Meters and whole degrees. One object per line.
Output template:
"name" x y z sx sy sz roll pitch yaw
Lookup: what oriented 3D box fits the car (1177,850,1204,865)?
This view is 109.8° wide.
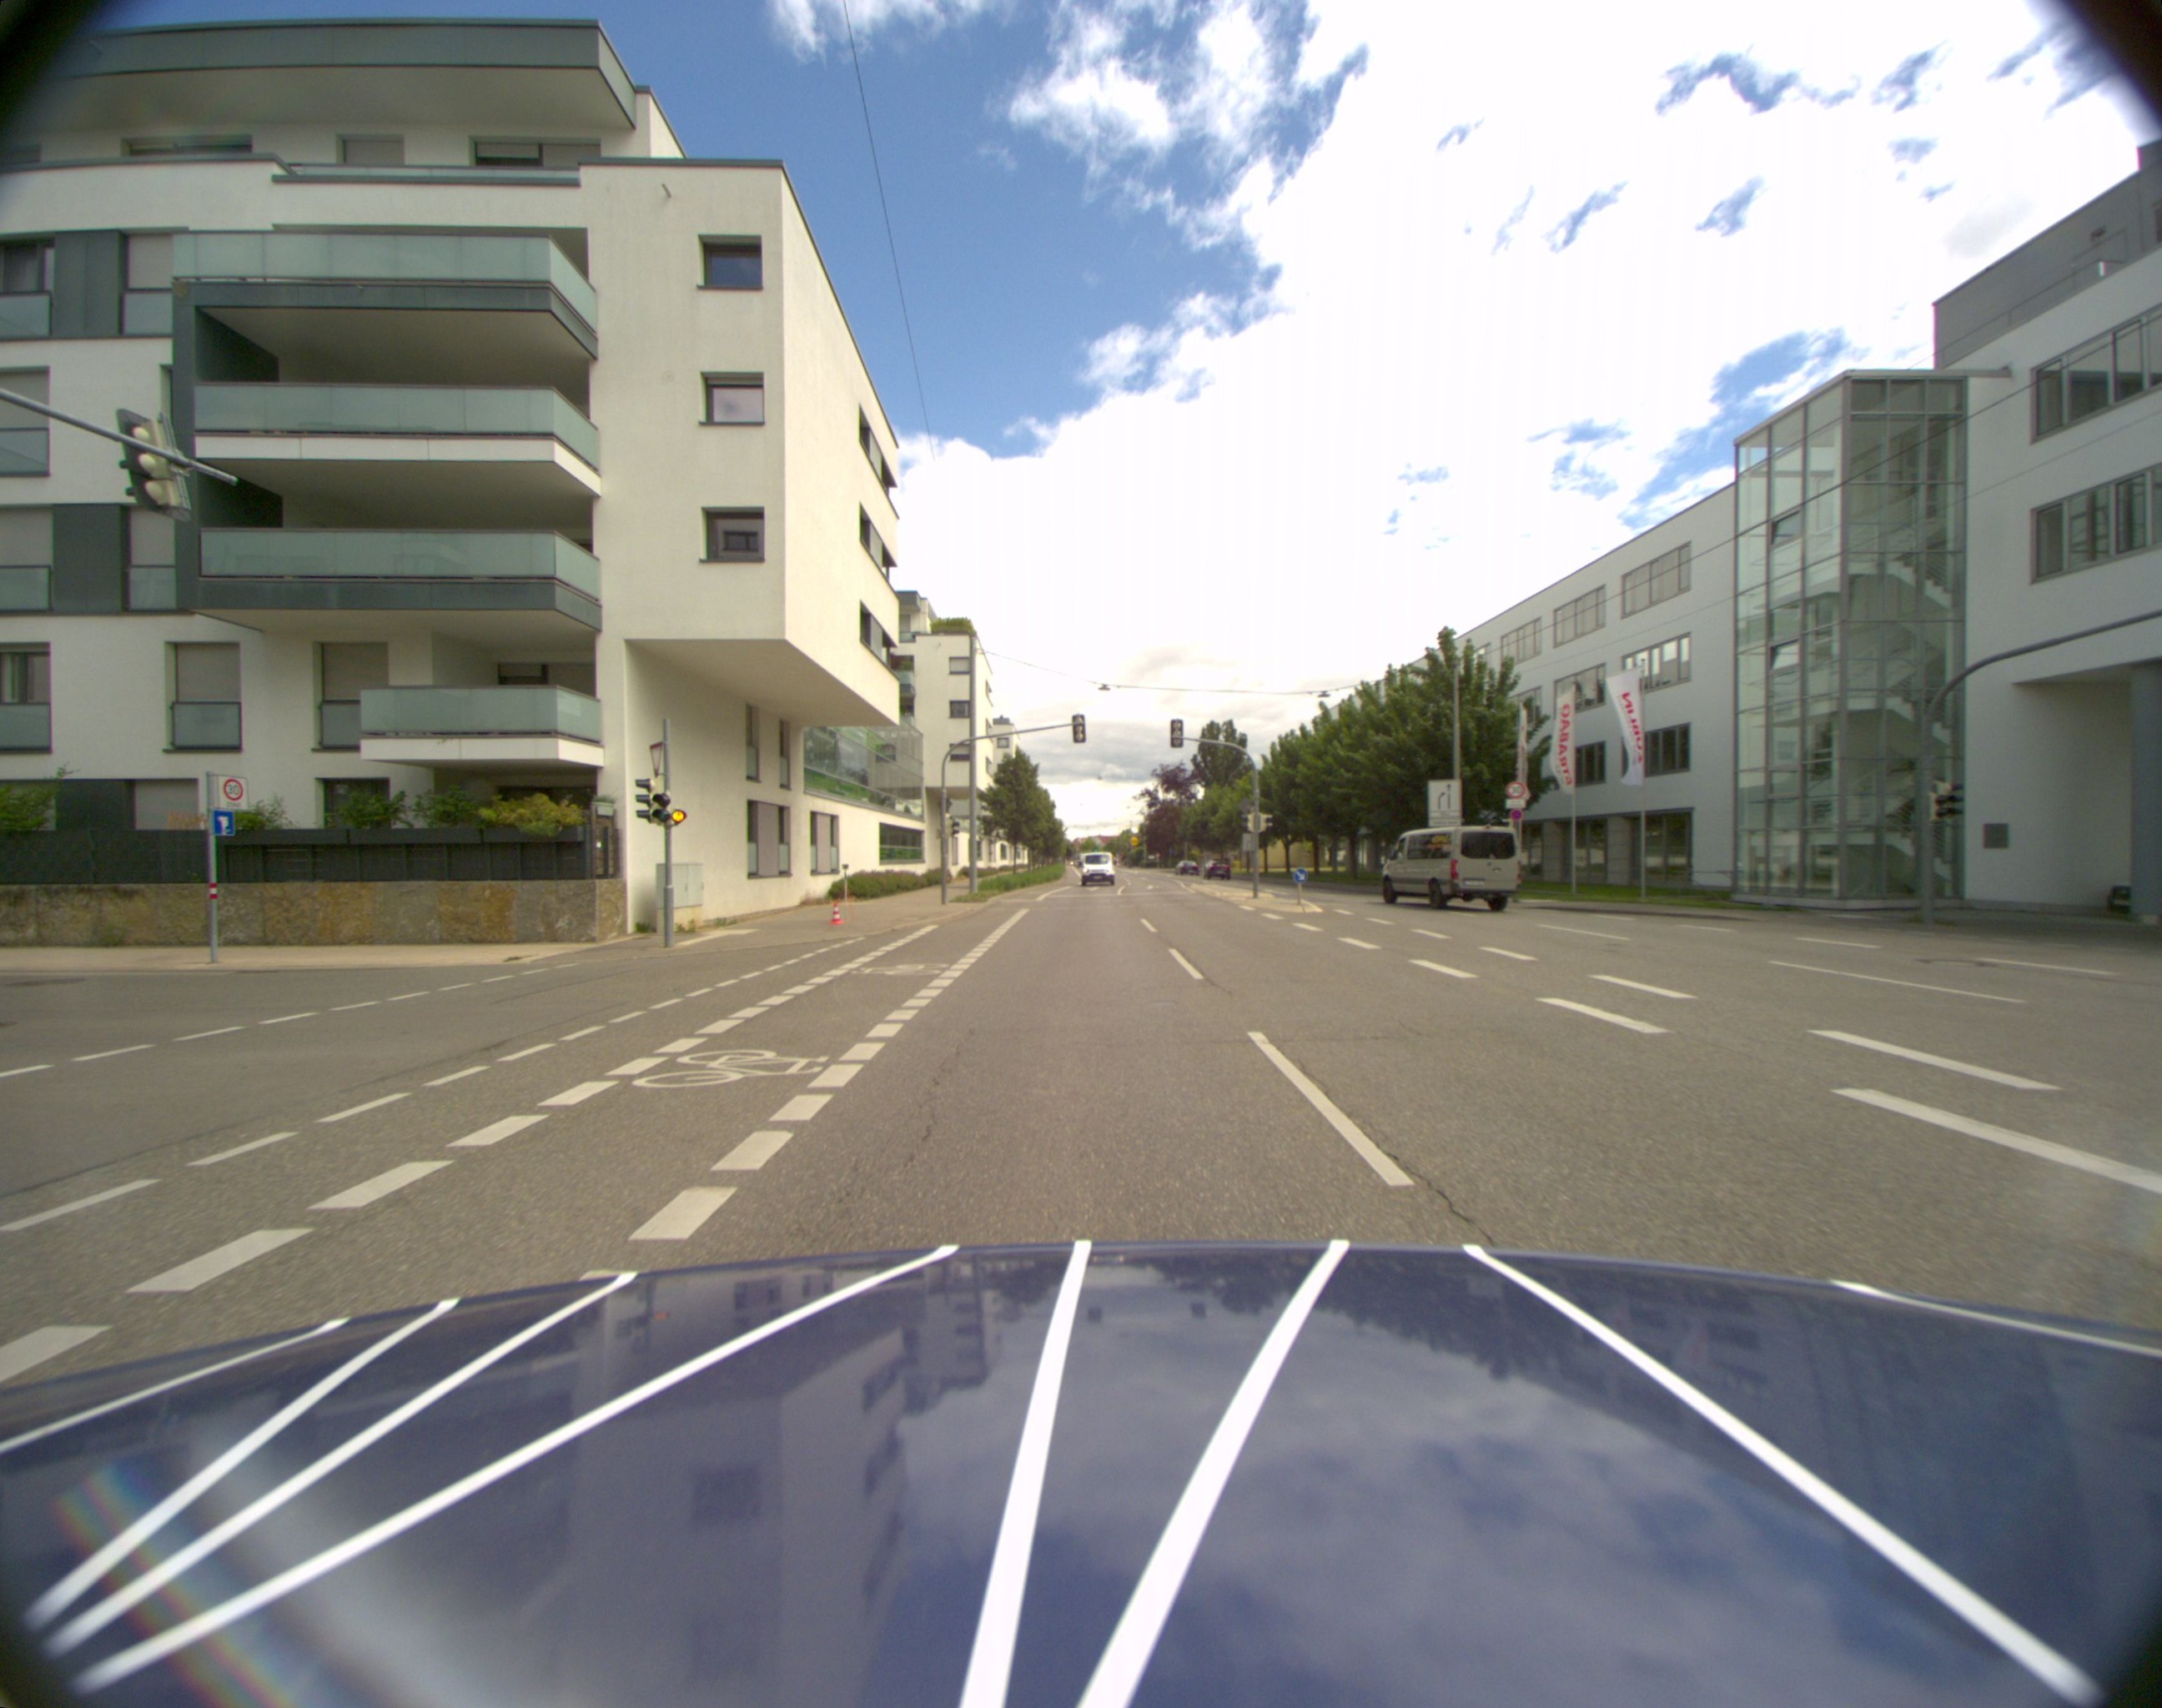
"car" 11.355 0.352 79.114 2.029 1.437 5.048 1 1 -1

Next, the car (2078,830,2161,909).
"car" 28.405 0.434 18.302 4.822 1.858 2.087 2 4 24

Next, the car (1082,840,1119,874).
"car" 1.121 0.154 46.293 1.999 1.906 3.998 -2 1 -1

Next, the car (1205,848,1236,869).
"car" 11.162 0.298 61.120 1.889 1.543 4.540 1 2 3

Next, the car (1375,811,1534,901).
"car" 11.551 0.022 24.138 2.148 2.457 6.073 1 1 2
